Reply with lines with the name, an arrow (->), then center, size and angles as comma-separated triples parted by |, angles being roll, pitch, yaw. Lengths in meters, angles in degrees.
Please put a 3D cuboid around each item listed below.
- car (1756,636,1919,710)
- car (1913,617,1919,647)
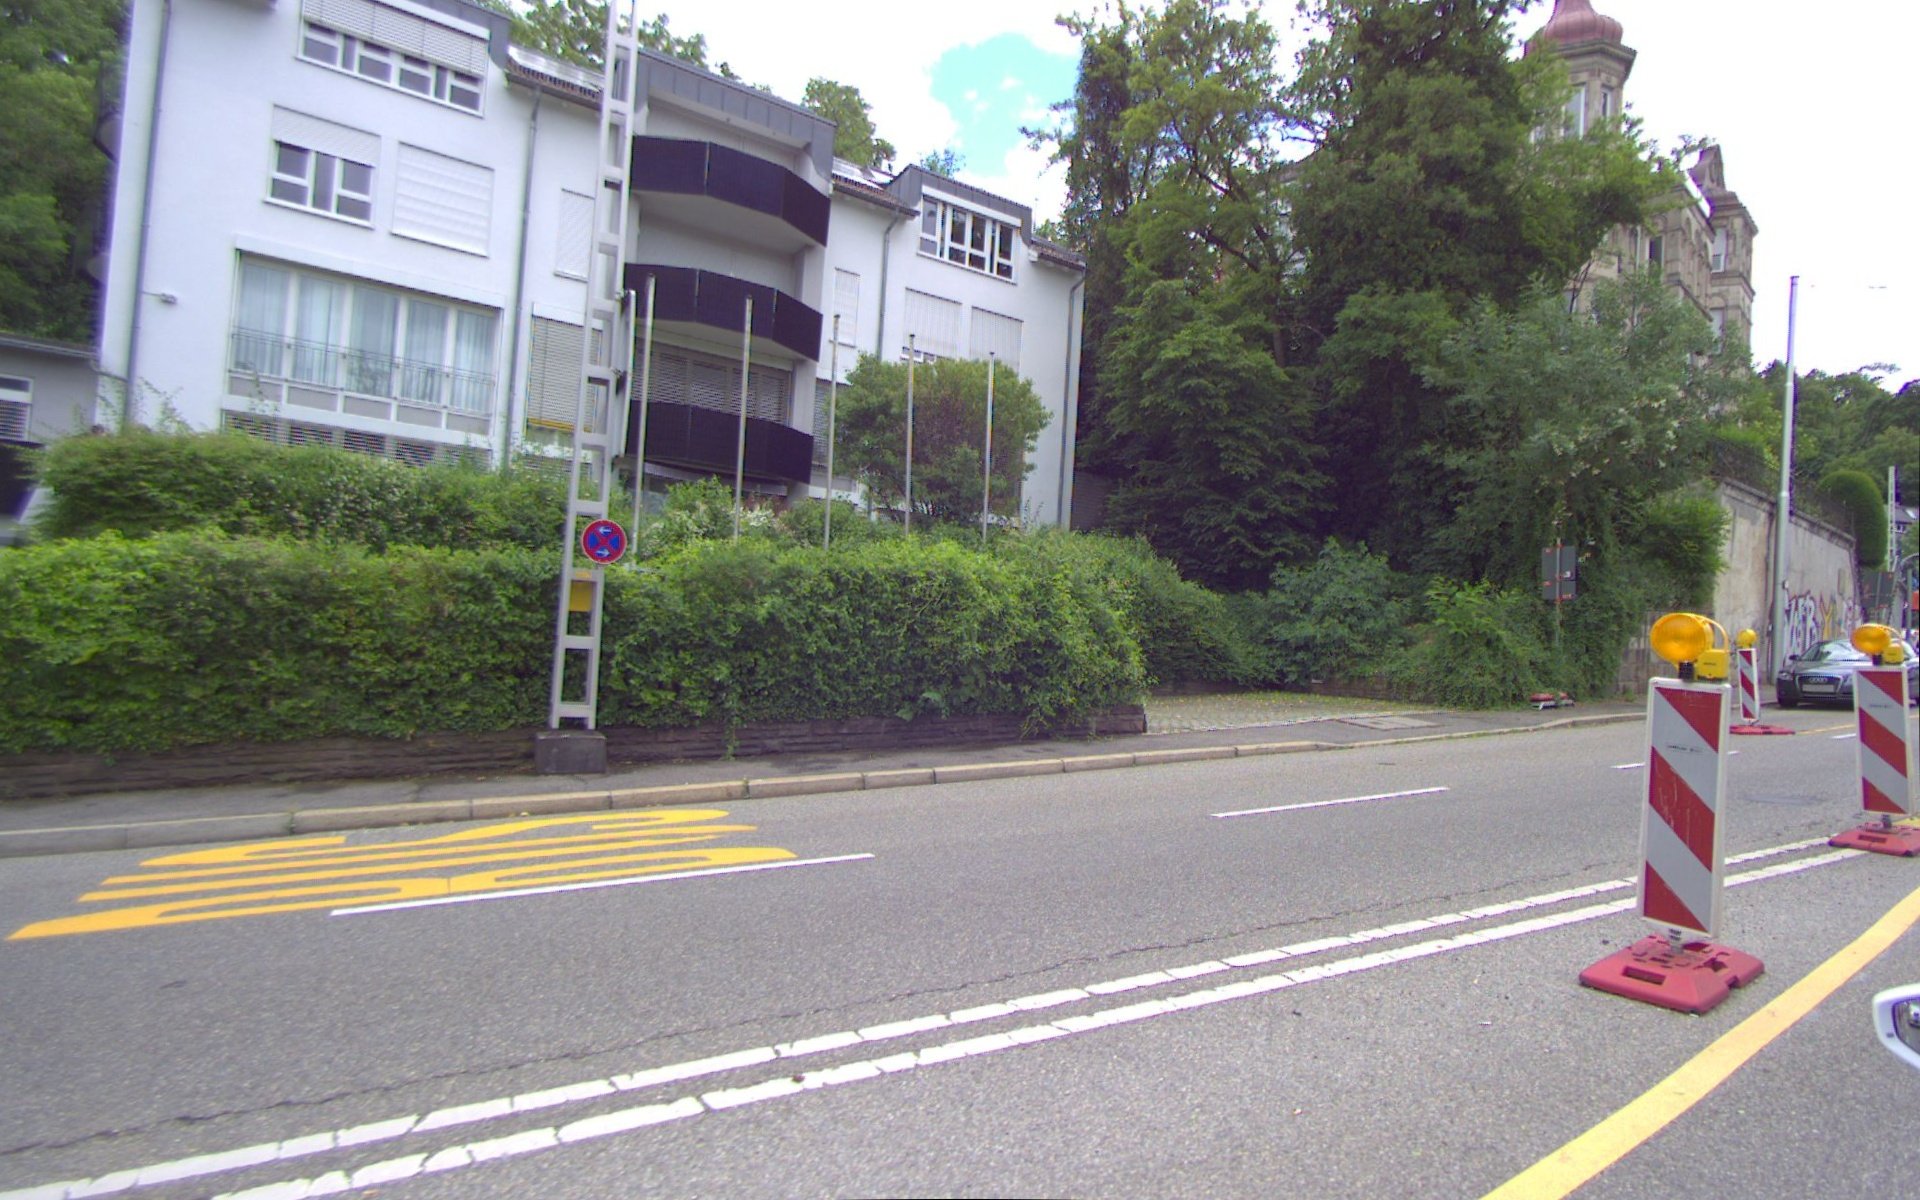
car -> 18.316, 1.443, 20.652 | 4.342, 1.391, 1.789 | 1, -3, -34
car -> 73.917, 2.400, 76.331 | 2.045, 2.216, 4.934 | -2, -2, 43
